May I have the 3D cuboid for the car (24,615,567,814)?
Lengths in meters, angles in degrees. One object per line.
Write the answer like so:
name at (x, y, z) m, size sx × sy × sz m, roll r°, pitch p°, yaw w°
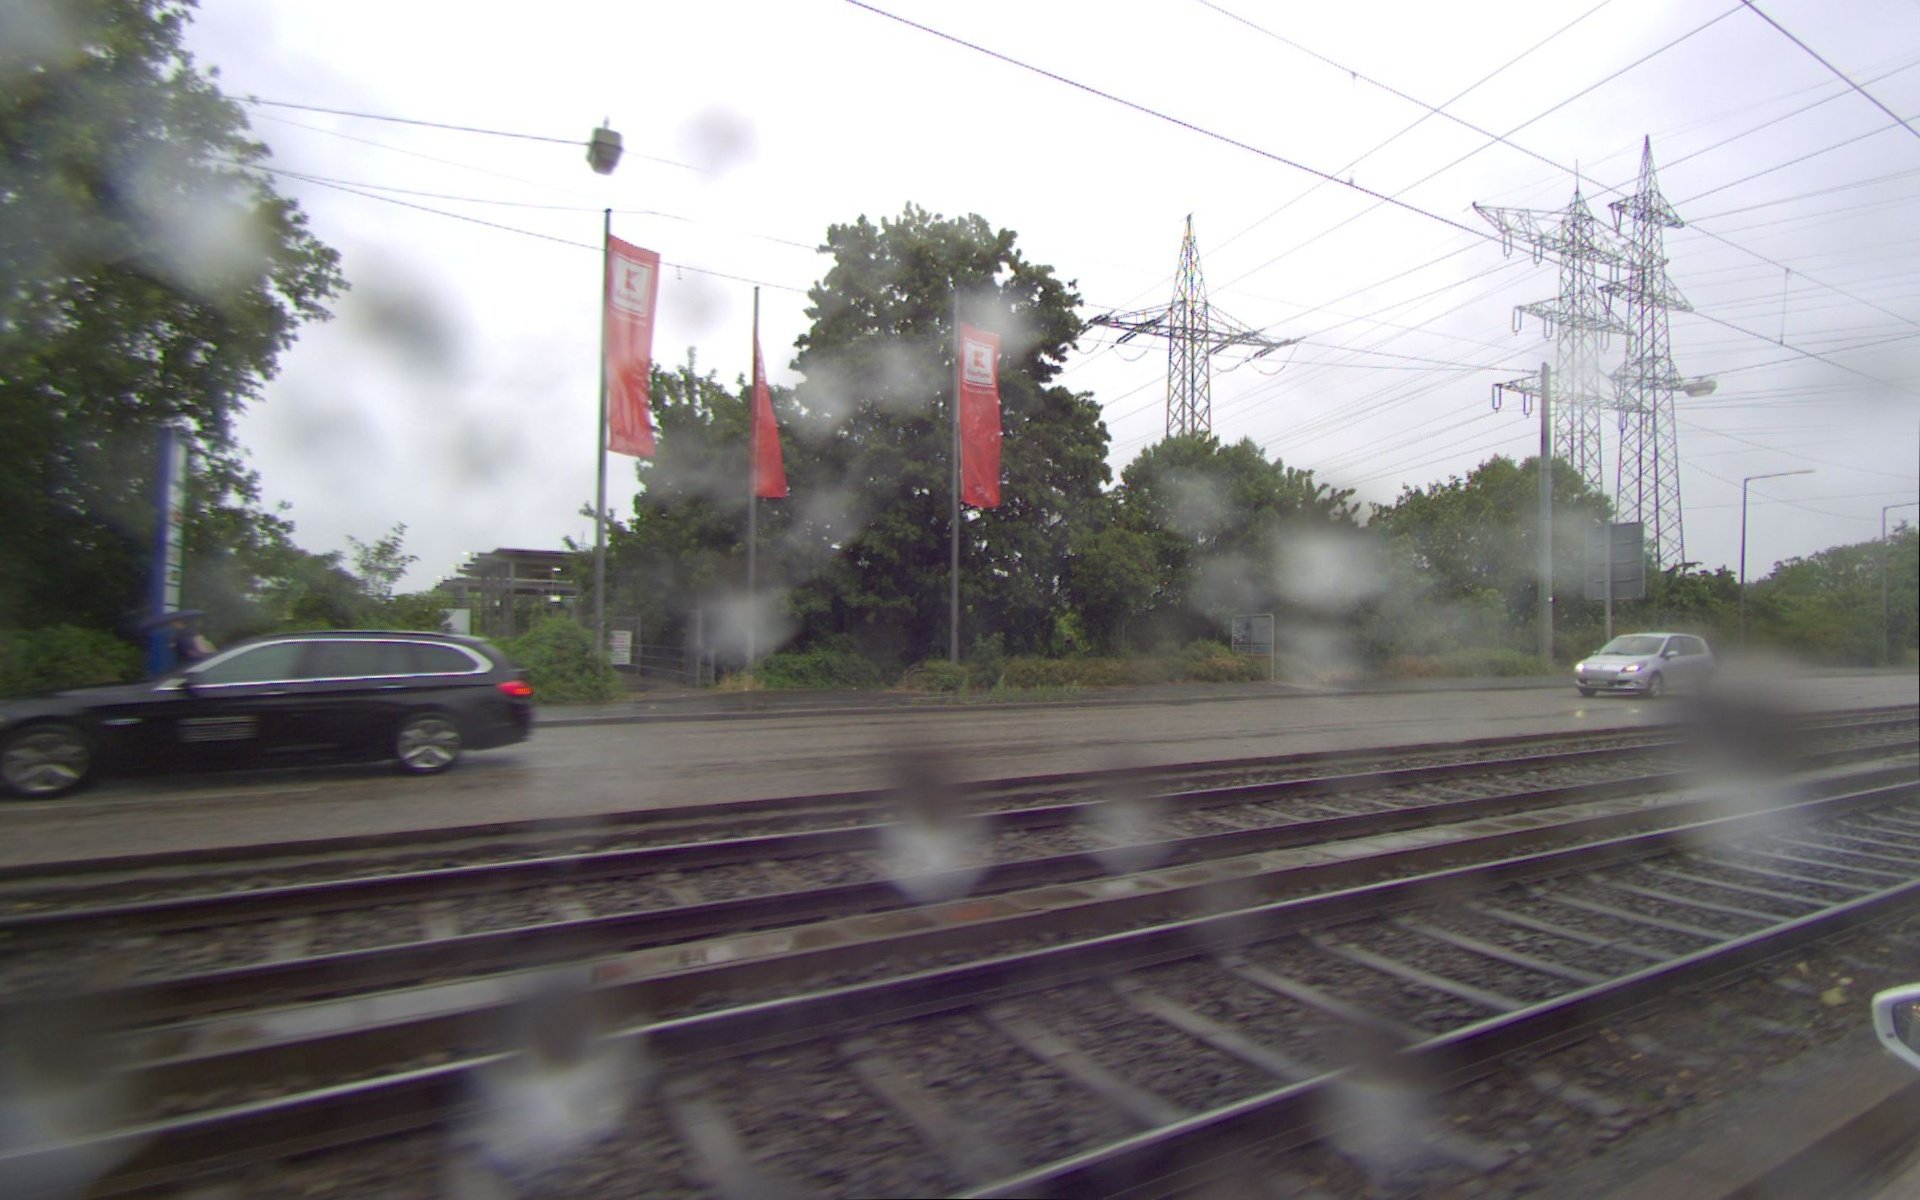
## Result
car at (-6.533, 1.004, 10.460) m, size 4.344 × 1.664 × 1.879 m, roll 0°, pitch 0°, yaw -30°

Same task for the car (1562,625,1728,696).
car at (17.866, 1.510, 26.175) m, size 4.294 × 1.664 × 1.879 m, roll 0°, pitch 0°, yaw -30°
